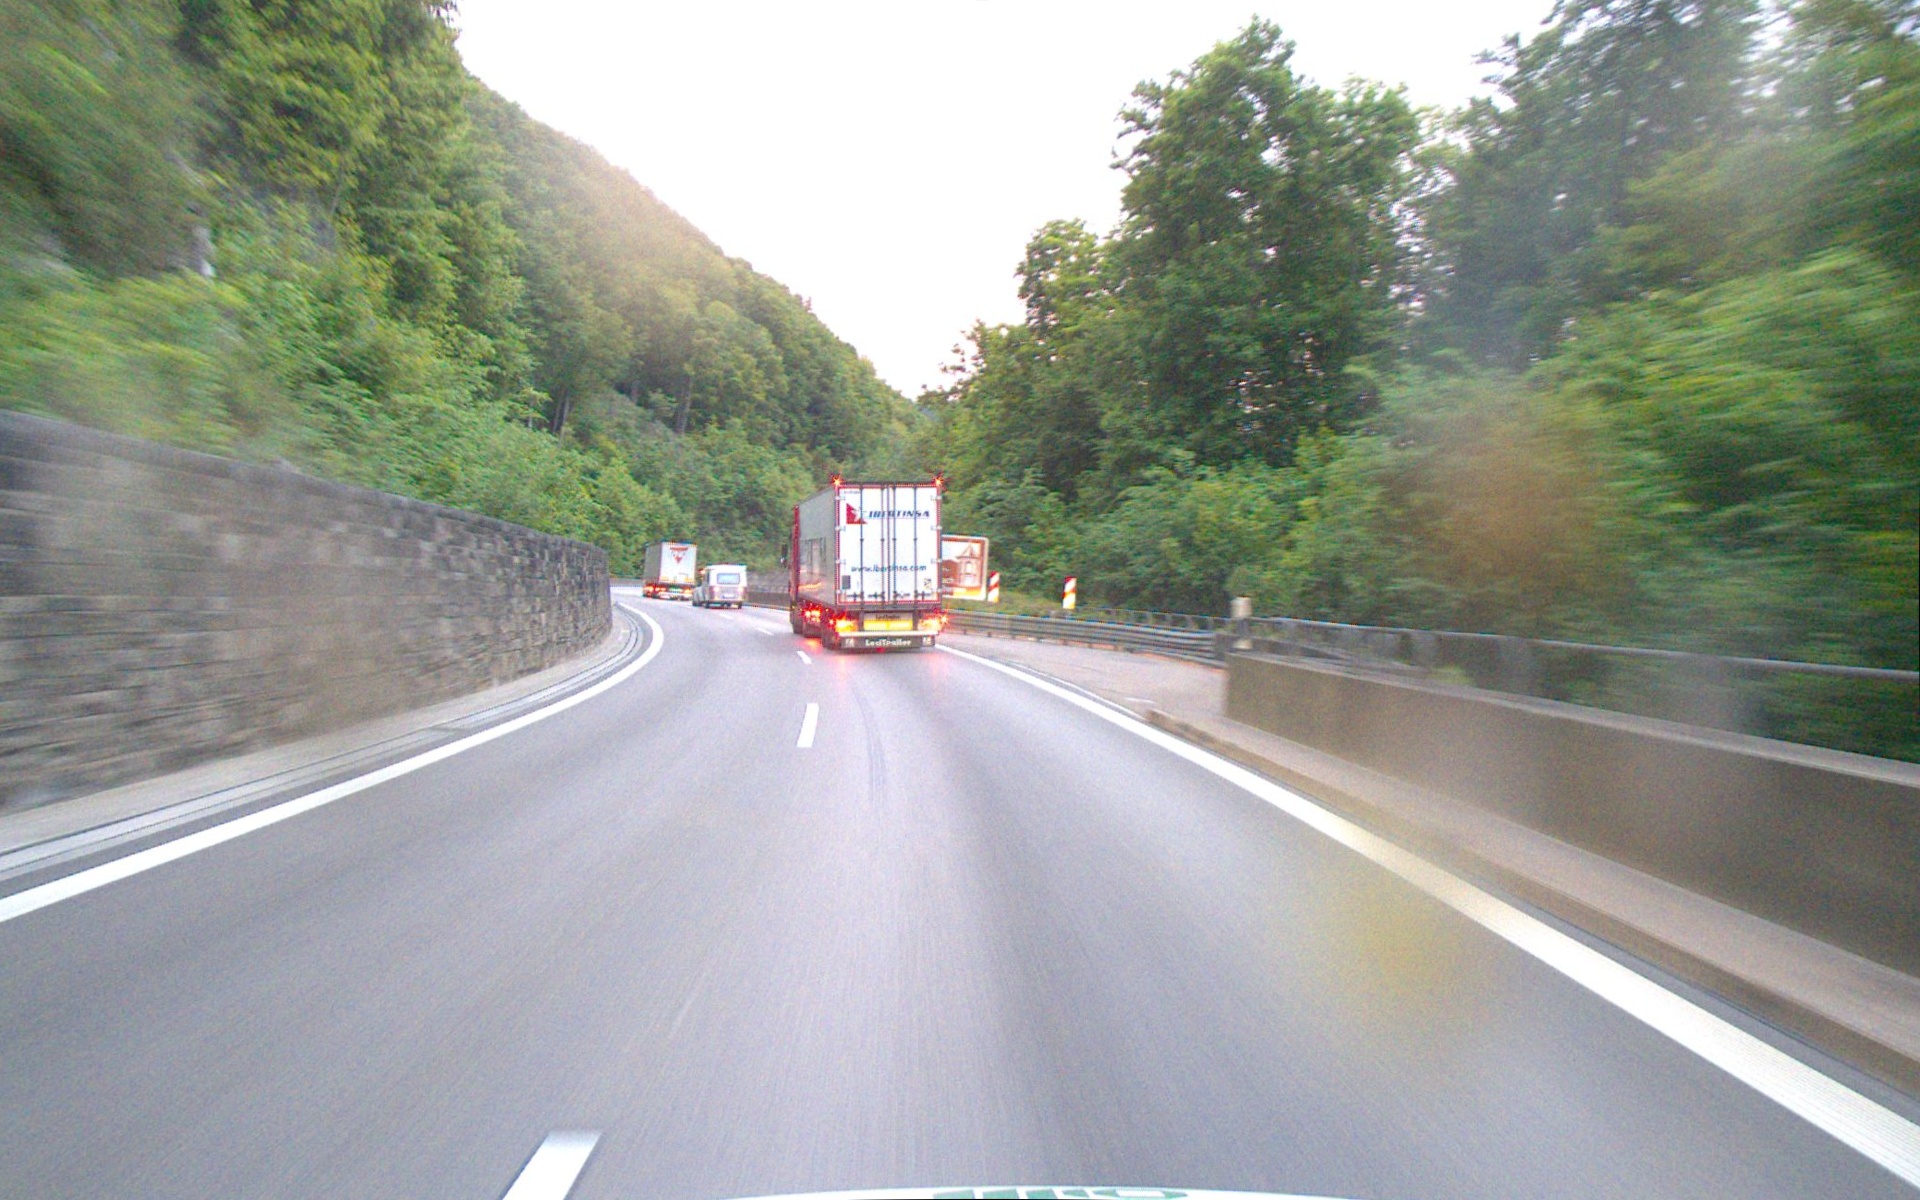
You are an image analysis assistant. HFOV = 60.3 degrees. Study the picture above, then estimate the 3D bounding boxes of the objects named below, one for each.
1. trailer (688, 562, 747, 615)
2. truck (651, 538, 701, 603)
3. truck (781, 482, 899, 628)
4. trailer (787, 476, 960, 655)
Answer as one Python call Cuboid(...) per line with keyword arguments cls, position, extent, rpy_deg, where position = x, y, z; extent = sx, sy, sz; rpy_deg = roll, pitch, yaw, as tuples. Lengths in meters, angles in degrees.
Cuboid(cls="trailer", position=(-13.093, -0.660, 89.042), extent=(2.023, 2.415, 5.910), rpy_deg=(6, 1, -17))
Cuboid(cls="truck", position=(-20.940, -2.020, 122.445), extent=(3.234, 4.246, 16.466), rpy_deg=(2, -1, -9))
Cuboid(cls="truck", position=(-3.843, -1.510, 51.713), extent=(3.013, 4.215, 6.434), rpy_deg=(-1, 3, -10))
Cuboid(cls="trailer", position=(-2.703, -1.160, 44.974), extent=(3.040, 4.038, 14.190), rpy_deg=(-1, 3, -9))
